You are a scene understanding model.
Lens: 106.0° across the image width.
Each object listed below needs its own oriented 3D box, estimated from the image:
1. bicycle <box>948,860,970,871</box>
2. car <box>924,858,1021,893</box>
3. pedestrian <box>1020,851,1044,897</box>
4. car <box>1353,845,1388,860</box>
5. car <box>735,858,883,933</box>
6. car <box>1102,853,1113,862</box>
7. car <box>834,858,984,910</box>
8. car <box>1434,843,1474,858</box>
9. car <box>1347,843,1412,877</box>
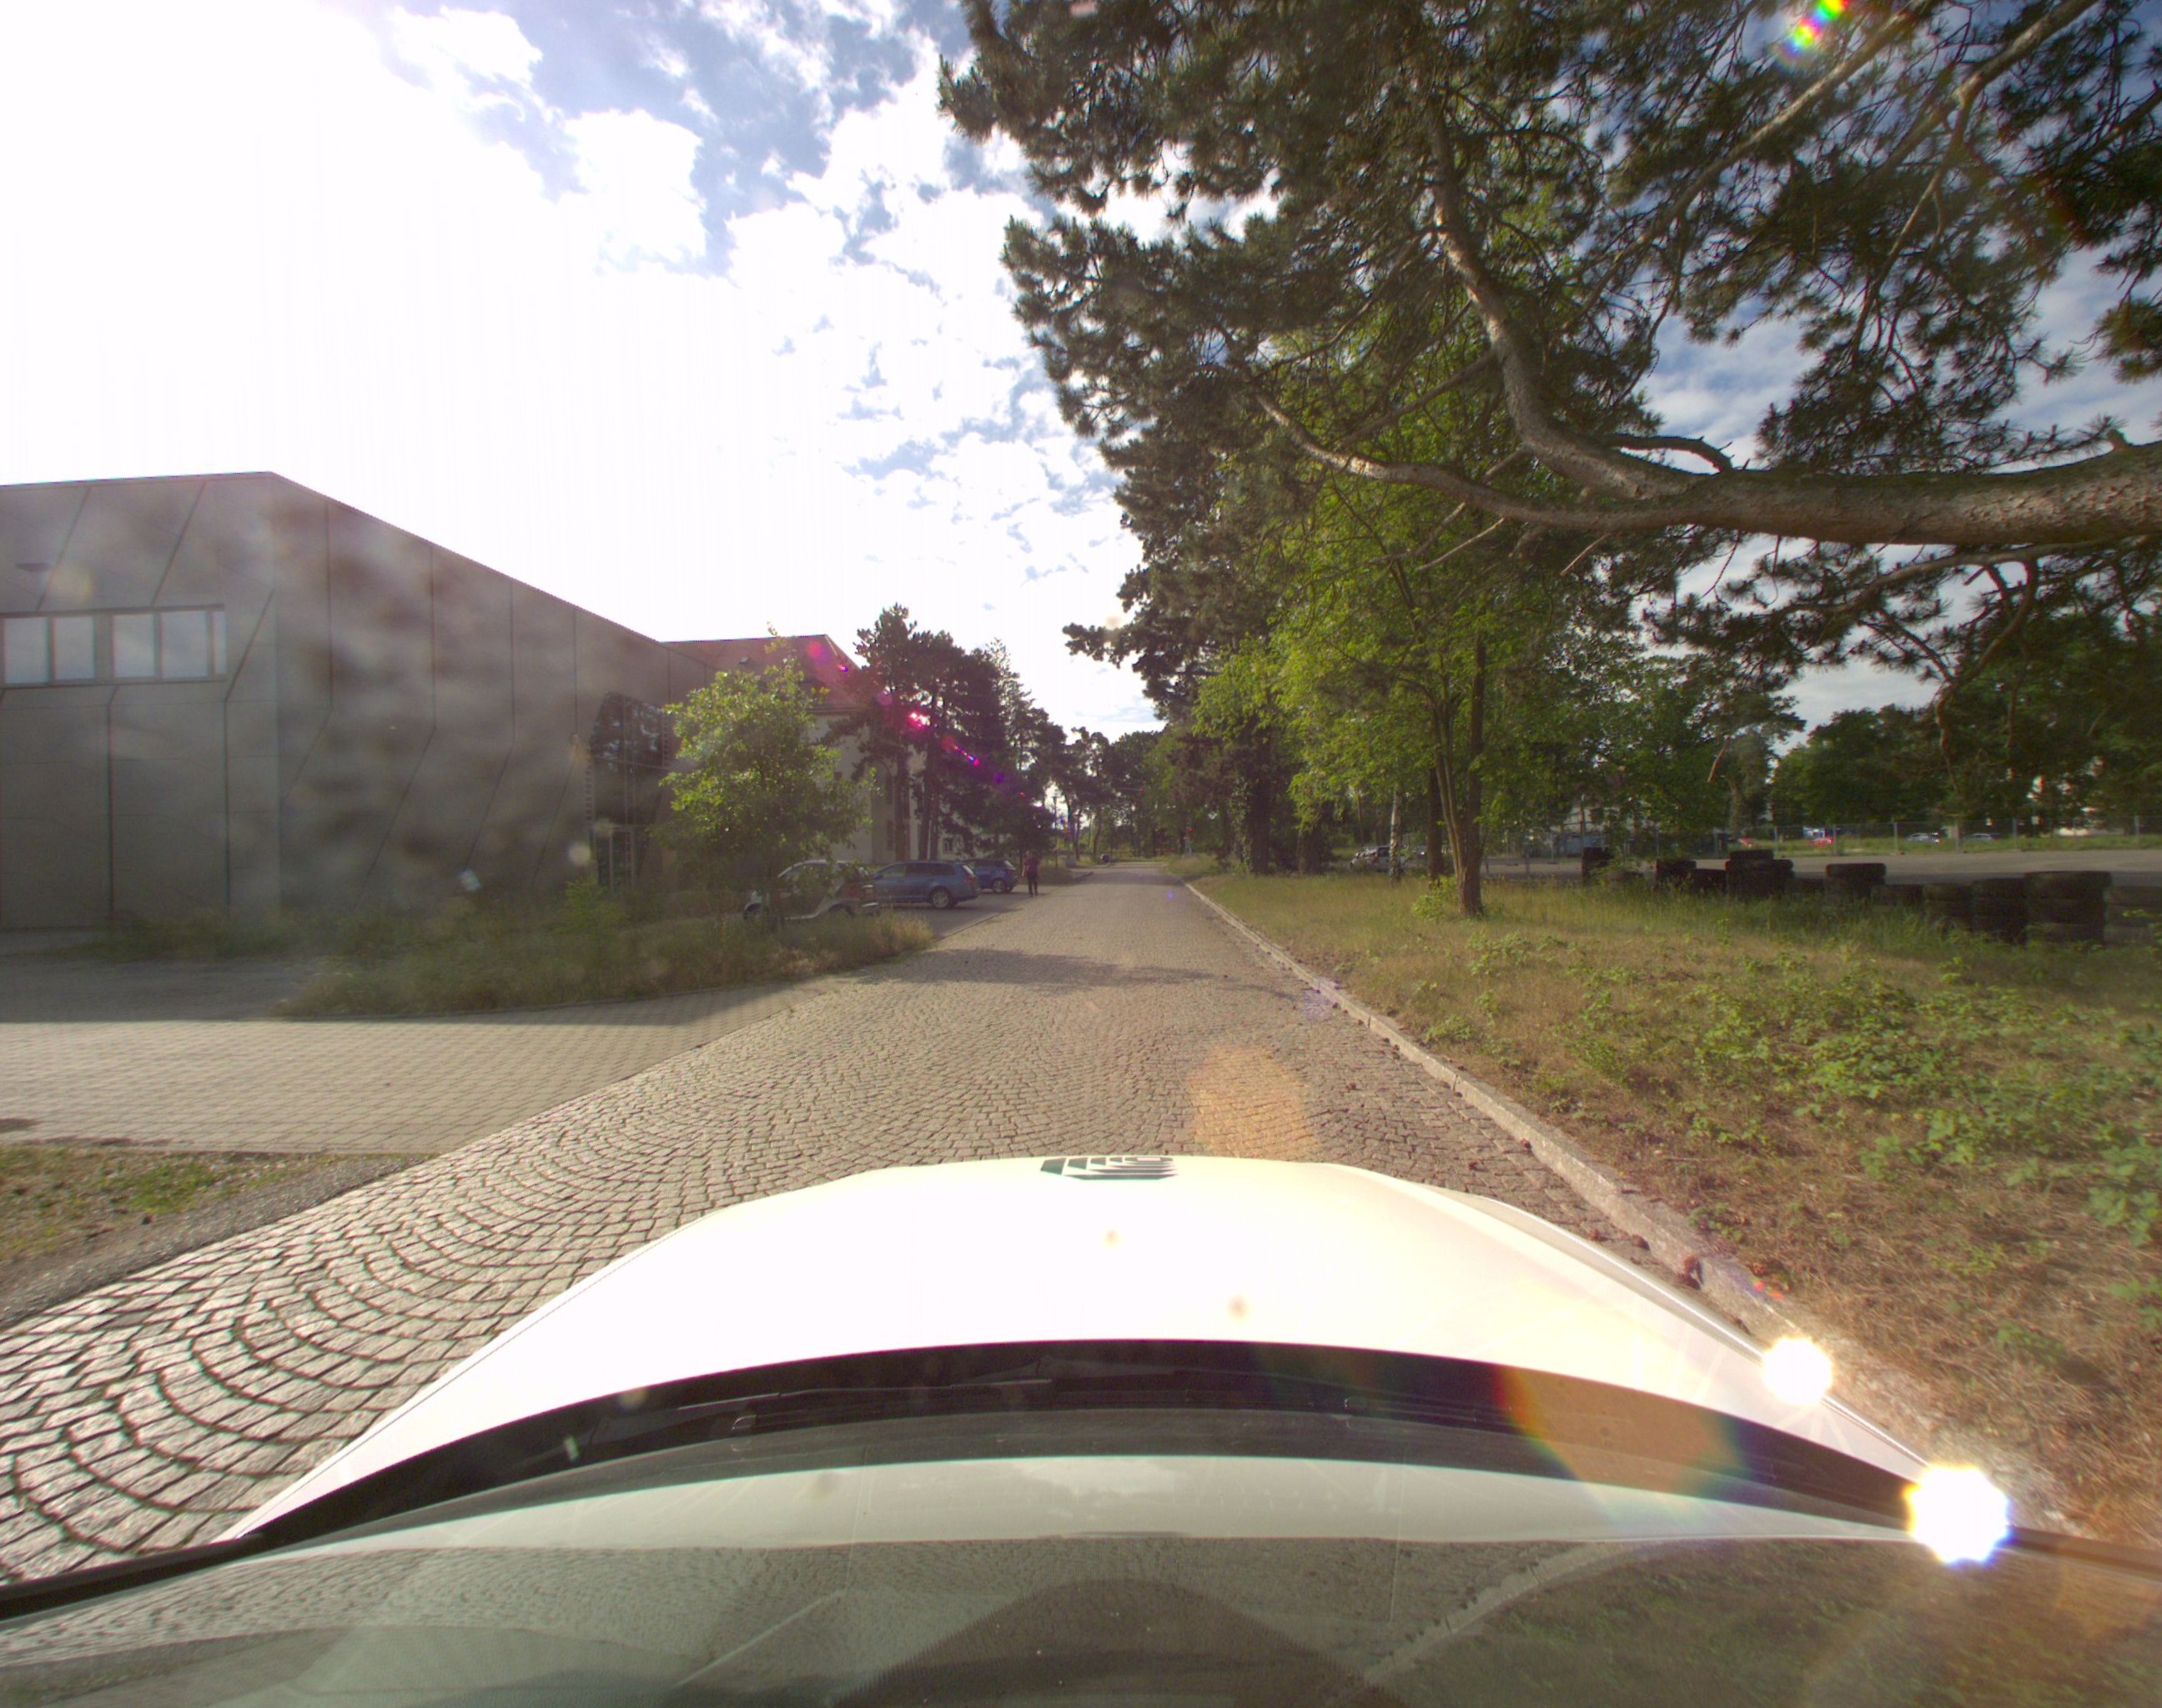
[{"bbox_3d":[-12.590,1.161,84.130,2.110,1.108,0.829,-2,0,0],"label":"bicycle"},{"bbox_3d":[-4.593,0.890,34.836,3.817,1.464,1.722,0,0,5],"label":"car"},{"bbox_3d":[-1.893,0.767,31.781,0.801,1.771,1.153,-2,0,0],"label":"pedestrian"},{"bbox_3d":[26.768,-0.166,75.445,1.725,1.312,4.332,-2,0,1],"label":"car"},{"bbox_3d":[-5.910,0.875,17.909,2.687,1.542,1.520,0,0,3],"label":"car"},{"bbox_3d":[4.561,0.582,140.766,1.838,1.486,4.002,-2,0,2],"label":"car"},{"bbox_3d":[-5.266,0.901,25.253,4.241,1.464,1.682,0,2,1],"label":"car"},{"bbox_3d":[34.667,-0.297,75.847,1.725,1.312,4.332,-2,0,1],"label":"car"},{"bbox_3d":[14.029,0.261,38.497,1.661,1.467,4.000,-2,0,1],"label":"car"}]
